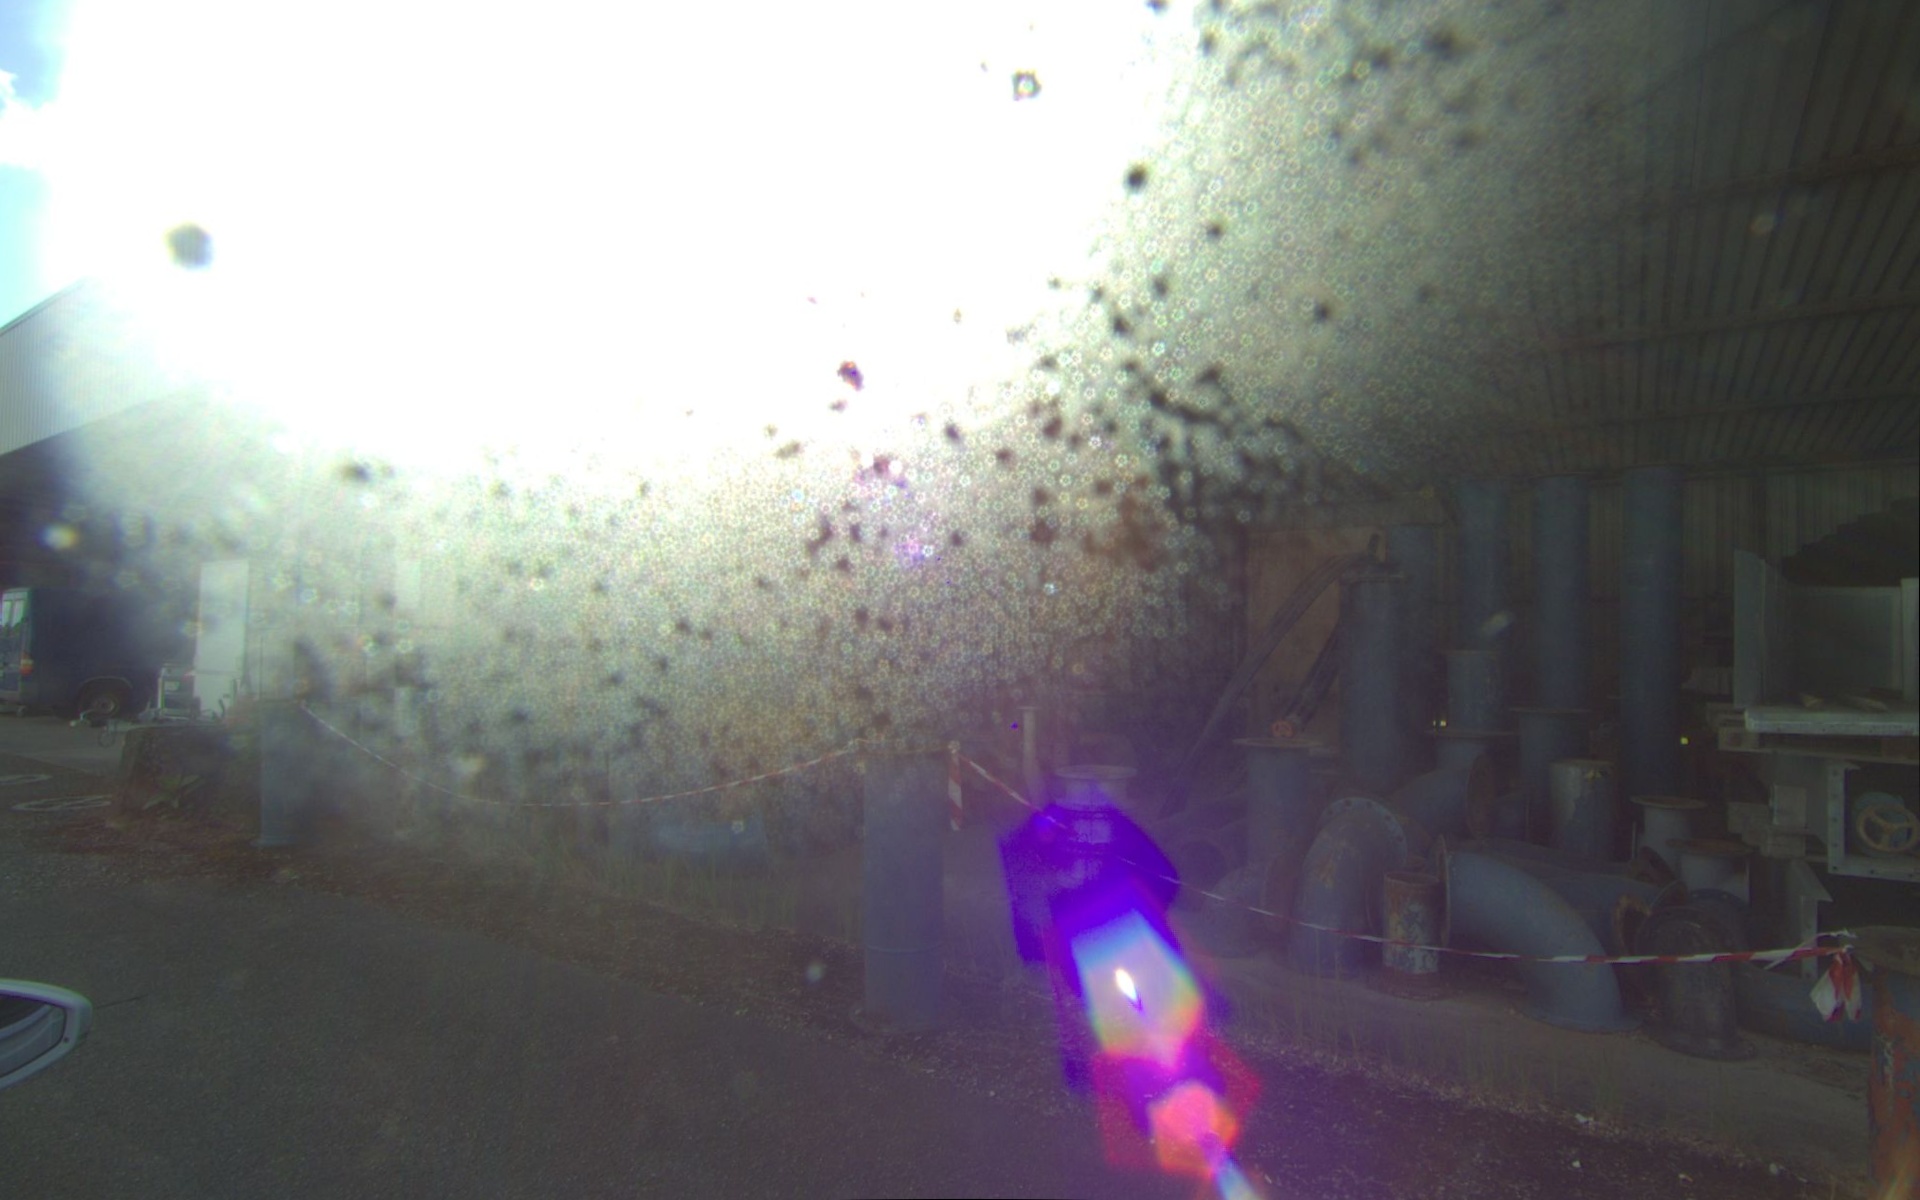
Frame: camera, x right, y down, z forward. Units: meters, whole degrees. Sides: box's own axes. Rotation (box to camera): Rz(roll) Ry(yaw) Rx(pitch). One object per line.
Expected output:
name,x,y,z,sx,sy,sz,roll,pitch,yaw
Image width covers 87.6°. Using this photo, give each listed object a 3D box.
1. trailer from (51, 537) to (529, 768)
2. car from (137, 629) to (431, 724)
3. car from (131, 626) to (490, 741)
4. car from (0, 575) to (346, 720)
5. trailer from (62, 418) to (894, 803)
trailer,-8.358,0.671,12.967,1.804,2.421,4.795,-1,-3,39
car,-11.900,1.305,17.918,1.761,1.491,3.985,-1,-3,29
car,-9.804,1.209,15.498,1.751,1.514,4.324,-1,-3,31
car,-14.750,0.906,18.914,1.973,2.354,4.969,-1,-3,34
trailer,-5.041,0.316,13.432,2.814,3.256,10.018,-1,-3,34
